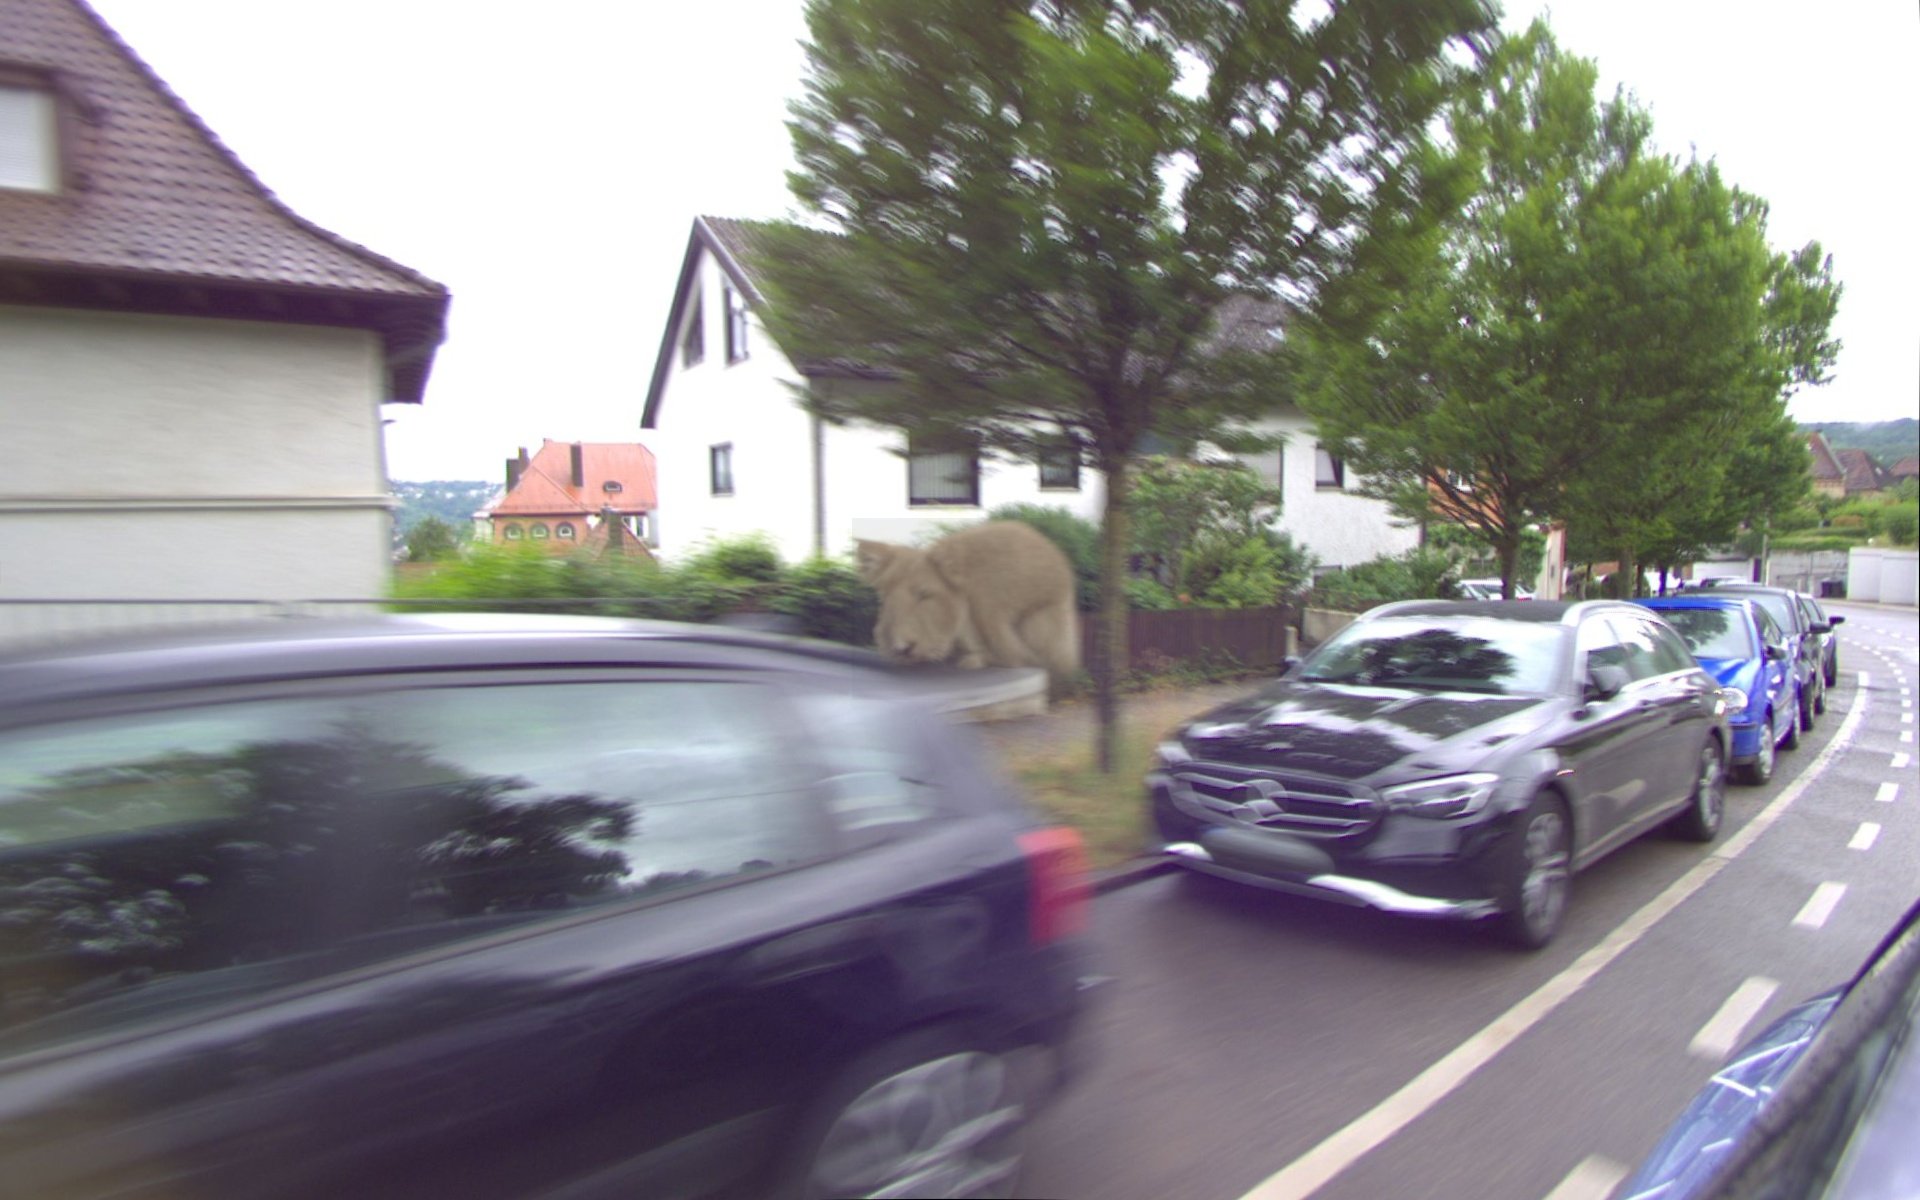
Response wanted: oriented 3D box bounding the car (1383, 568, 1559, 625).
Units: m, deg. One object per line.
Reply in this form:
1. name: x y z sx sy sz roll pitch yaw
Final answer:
1. car: 15.190 -0.079 30.200 4.301 1.483 1.906 -2 2 44

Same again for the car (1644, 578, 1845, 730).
1. car: 9.573 0.536 12.282 1.627 1.582 2.975 0 1 44

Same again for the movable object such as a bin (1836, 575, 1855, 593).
1. movable object such as a bin: 50.228 -0.898 57.383 0.589 1.004 0.610 -2 0 -27

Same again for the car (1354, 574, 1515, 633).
1. car: 13.227 0.118 28.324 3.680 1.483 1.751 -3 0 44

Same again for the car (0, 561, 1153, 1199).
1. car: -1.669 0.685 1.732 4.212 1.442 1.646 -1 0 -40

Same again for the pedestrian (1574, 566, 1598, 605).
1. pedestrian: 28.477 -0.666 46.028 0.755 1.741 0.894 3 2 27

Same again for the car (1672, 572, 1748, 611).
1. car: 32.464 -0.410 43.937 1.842 1.600 4.814 0 2 27

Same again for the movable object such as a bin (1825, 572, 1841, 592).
1. movable object such as a bin: 49.952 -1.026 57.905 0.589 1.160 0.529 -3 1 -27

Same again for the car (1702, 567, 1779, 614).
1. car: 29.970 -0.426 38.976 2.047 1.676 5.172 1 2 35

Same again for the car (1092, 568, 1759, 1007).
1. car: 2.974 0.639 5.843 4.647 1.572 1.778 -1 0 -42

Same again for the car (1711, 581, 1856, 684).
1. car: 13.913 0.471 17.030 1.667 1.489 3.654 -1 1 42

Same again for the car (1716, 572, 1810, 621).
1. car: 26.940 -0.164 34.104 1.853 1.487 4.999 -2 0 32

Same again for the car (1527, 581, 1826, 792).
1. car: 6.819 0.611 9.460 1.654 1.538 3.936 0 1 45
